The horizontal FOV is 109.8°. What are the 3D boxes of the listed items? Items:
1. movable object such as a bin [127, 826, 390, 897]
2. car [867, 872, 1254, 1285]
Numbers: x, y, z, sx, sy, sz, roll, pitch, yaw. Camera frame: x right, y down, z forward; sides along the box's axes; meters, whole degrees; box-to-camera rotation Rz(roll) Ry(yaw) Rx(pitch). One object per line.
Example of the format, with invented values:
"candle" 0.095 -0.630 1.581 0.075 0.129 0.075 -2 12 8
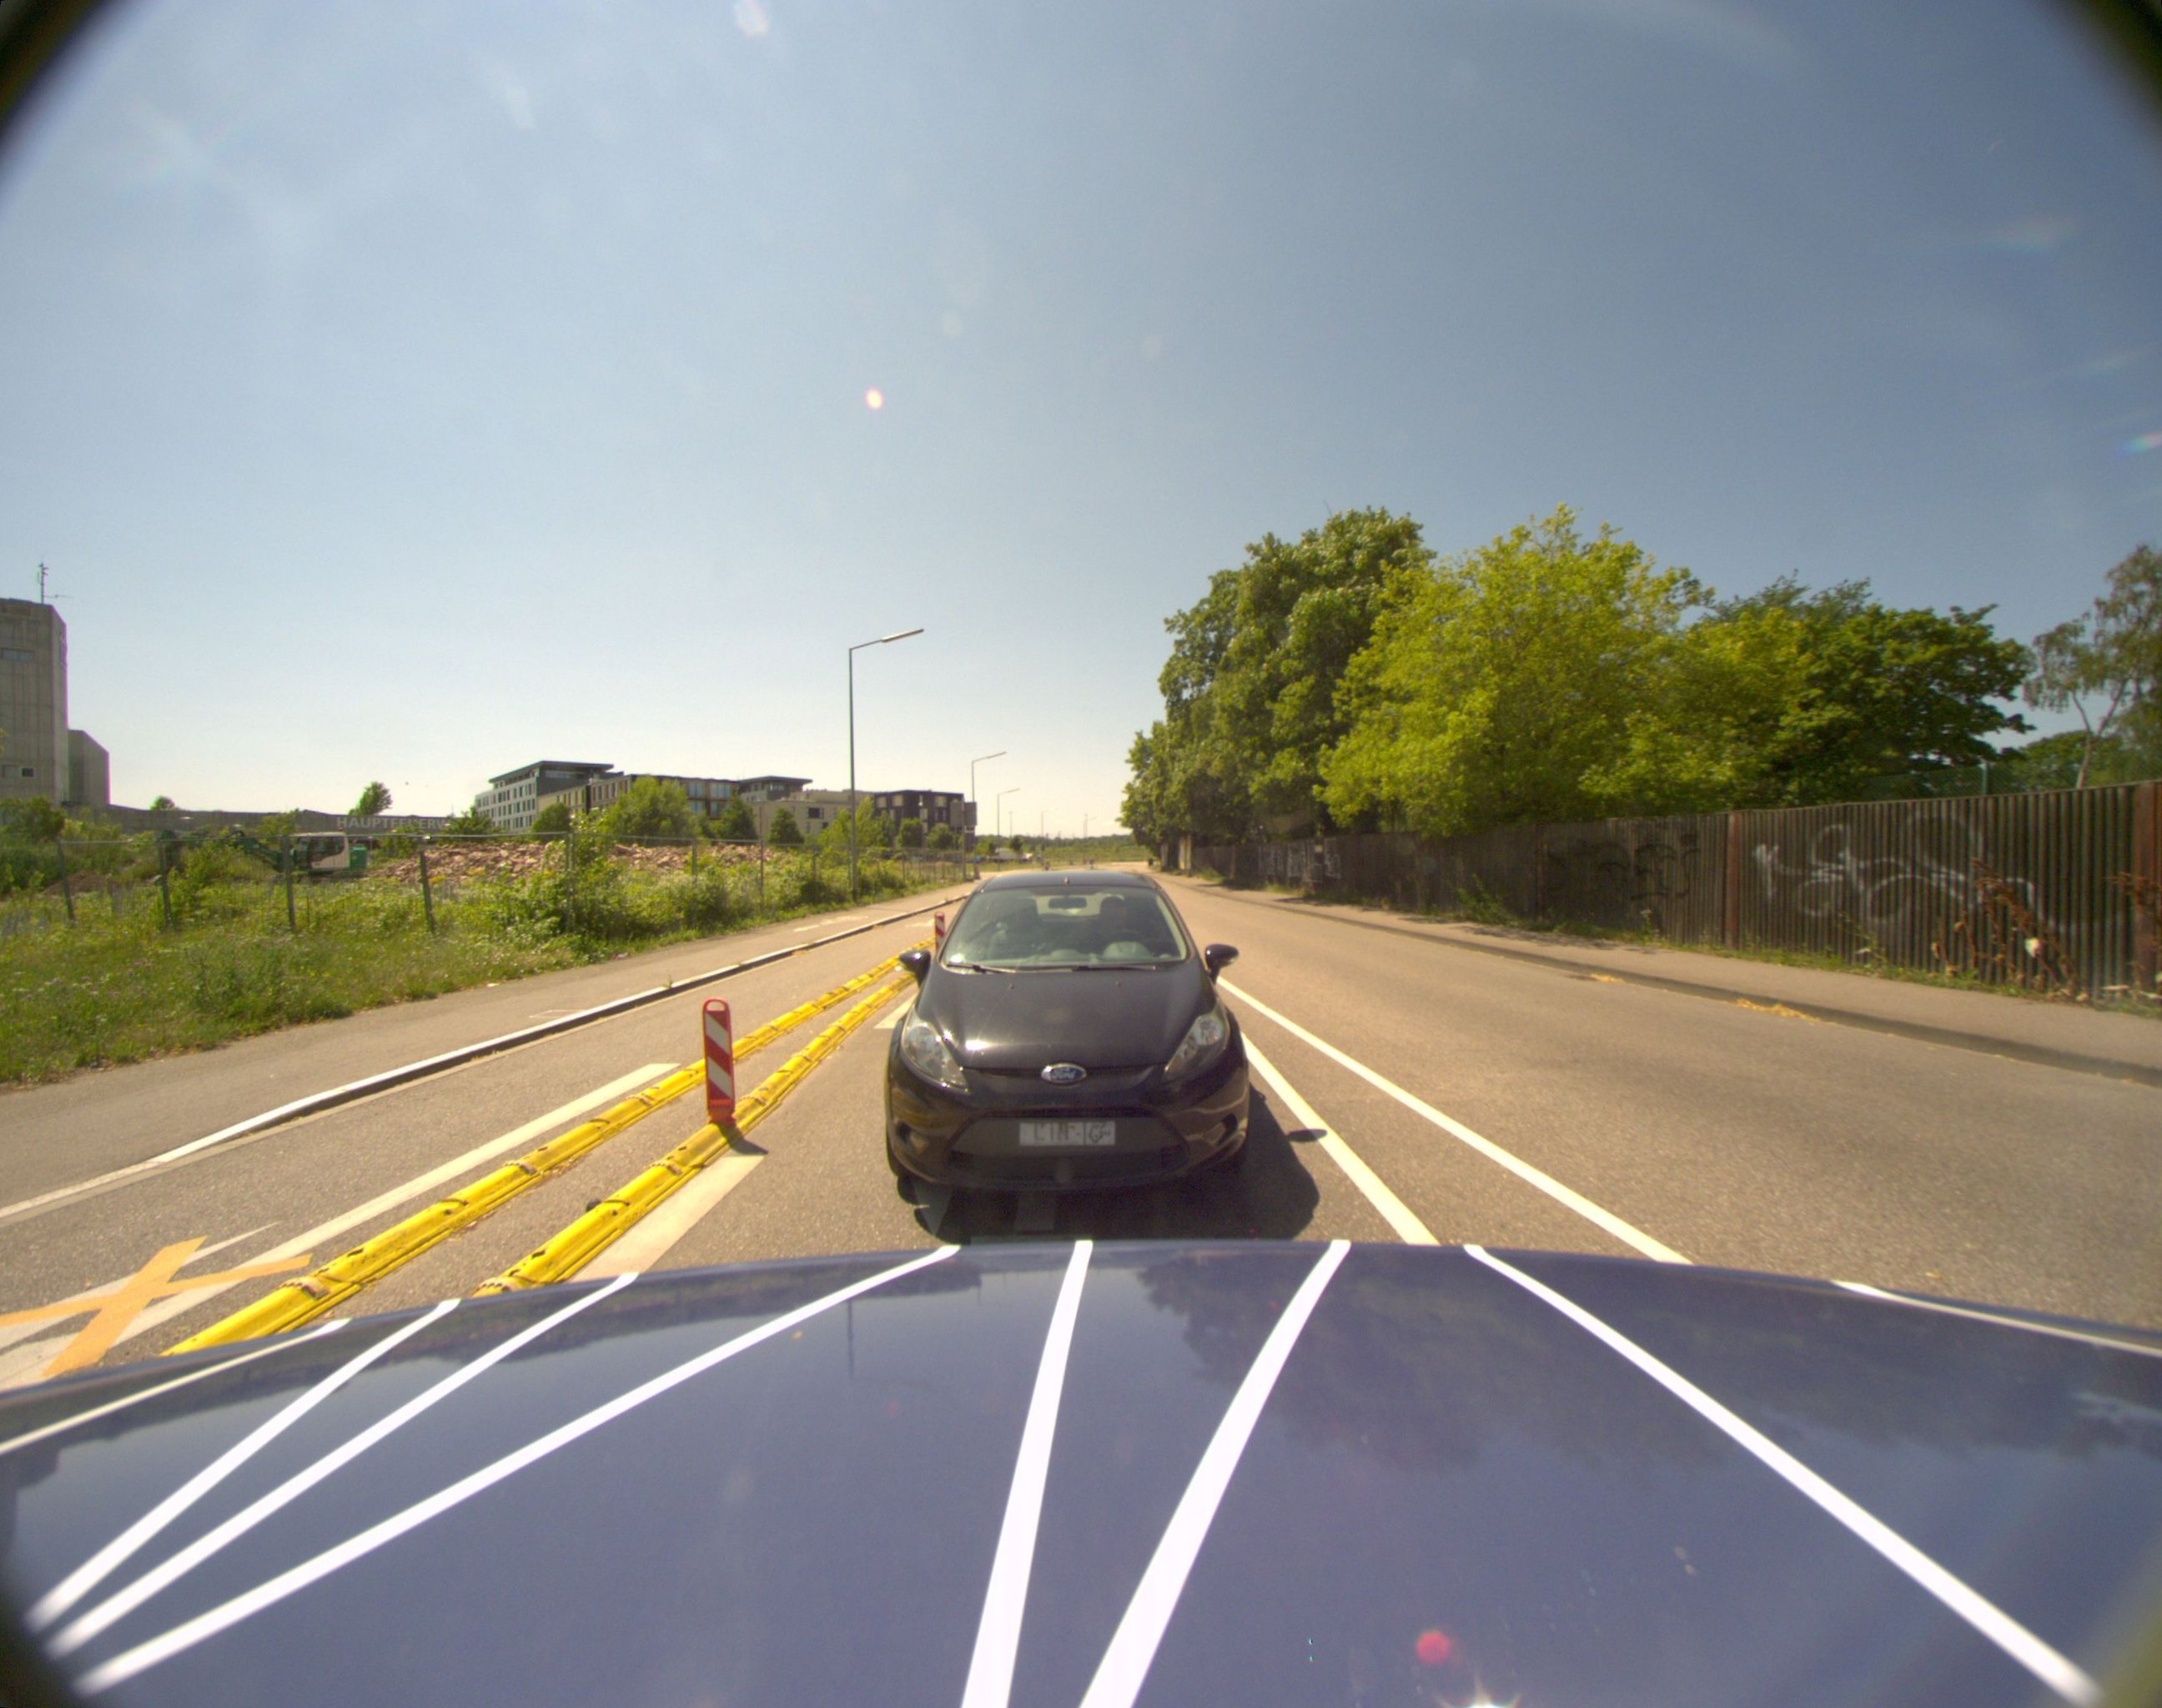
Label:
"movable object such as a bin" -38.332 0.259 35.937 3.231 2.899 7.702 -2 1 15
"car" -0.056 0.973 5.110 1.528 1.510 3.999 -2 1 1
